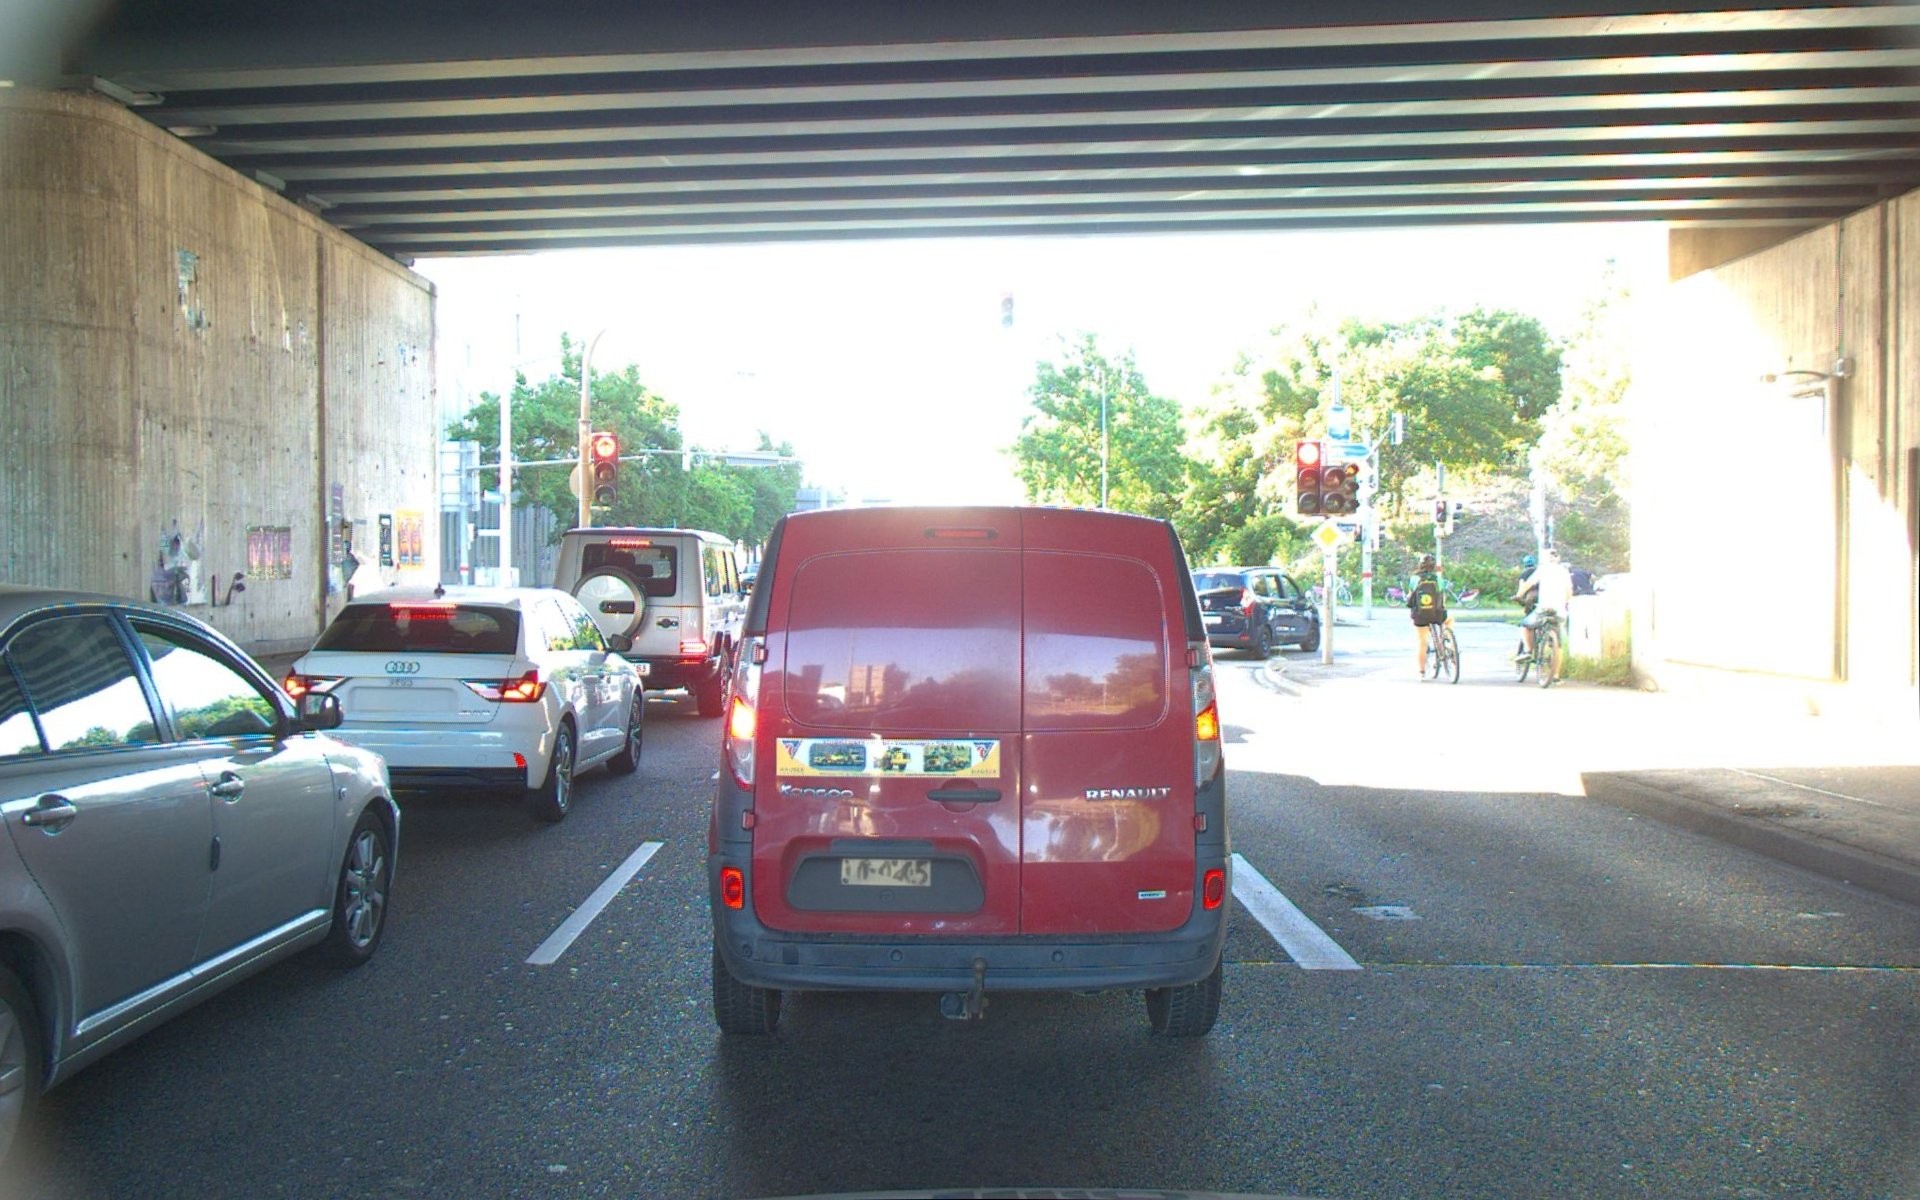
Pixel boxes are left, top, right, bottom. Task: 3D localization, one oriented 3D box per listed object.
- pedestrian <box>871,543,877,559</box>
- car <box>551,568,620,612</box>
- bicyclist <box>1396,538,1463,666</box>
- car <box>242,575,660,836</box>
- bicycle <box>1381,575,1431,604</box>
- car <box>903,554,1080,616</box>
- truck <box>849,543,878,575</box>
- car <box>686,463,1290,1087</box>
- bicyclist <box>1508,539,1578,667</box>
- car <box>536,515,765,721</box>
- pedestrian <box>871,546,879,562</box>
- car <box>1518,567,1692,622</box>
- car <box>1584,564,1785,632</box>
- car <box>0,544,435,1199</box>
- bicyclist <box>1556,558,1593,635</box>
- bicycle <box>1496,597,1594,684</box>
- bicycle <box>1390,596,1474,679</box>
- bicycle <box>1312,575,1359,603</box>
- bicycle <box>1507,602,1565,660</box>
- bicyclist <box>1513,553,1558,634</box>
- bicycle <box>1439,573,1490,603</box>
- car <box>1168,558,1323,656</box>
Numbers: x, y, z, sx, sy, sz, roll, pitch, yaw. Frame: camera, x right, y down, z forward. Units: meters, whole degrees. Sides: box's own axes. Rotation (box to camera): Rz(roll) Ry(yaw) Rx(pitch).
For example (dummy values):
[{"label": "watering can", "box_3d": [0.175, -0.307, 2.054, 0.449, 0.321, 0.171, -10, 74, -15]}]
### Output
[{"label": "pedestrian", "box_3d": [-10.845, -6.155, 208.174, 0.724, 2.049, 0.638, 1, -1, 3]}, {"label": "car", "box_3d": [-16.112, -0.442, 71.380, 1.787, 1.768, 4.630, -2, 1, 1]}, {"label": "bicyclist", "box_3d": [6.201, 0.030, 21.882, 0.580, 1.642, 0.942, 1, 0, -1]}, {"label": "car", "box_3d": [-3.253, 0.578, 11.344, 1.777, 1.463, 3.730, 1, 1, -1]}, {"label": "bicycle", "box_3d": [16.475, -0.387, 61.168, 1.707, 1.041, 0.594, 1, 0, 8]}, {"label": "car", "box_3d": [0.807, -0.374, 44.297, 4.466, 1.540, 1.823, 1, 0, -11]}, {"label": "truck", "box_3d": [-9.499, -4.038, 163.950, 2.360, 3.079, 6.657, -2, 1, 0]}, {"label": "car", "box_3d": [0.059, 0.529, 6.912, 1.768, 1.826, 3.999, 1, 0, -1]}, {"label": "bicyclist", "box_3d": [7.320, 0.037, 20.793, 0.580, 1.575, 0.769, 1, -1, -1]}, {"label": "car", "box_3d": [-3.355, 0.188, 18.793, 1.764, 2.023, 4.588, 1, 0, -1]}, {"label": "pedestrian", "box_3d": [-11.243, -6.117, 219.009, 0.921, 2.049, 0.694, 1, -1, 3]}, {"label": "car", "box_3d": [18.980, -0.156, 48.832, 4.451, 1.540, 1.829, 1, 0, 6]}, {"label": "car", "box_3d": [17.363, -0.042, 39.724, 4.104, 1.570, 1.882, 0, 0, -10]}, {"label": "car", "box_3d": [-3.008, 0.624, 4.846, 1.698, 1.506, 4.317, 0, 0, -2]}, {"label": "bicyclist", "box_3d": [12.089, -0.079, 32.560, 0.635, 1.506, 0.618, 1, 1, 17]}, {"label": "bicycle", "box_3d": [7.328, 0.488, 20.782, 0.579, 1.041, 1.750, 1, 0, -1]}, {"label": "bicycle", "box_3d": [6.210, 0.474, 21.845, 0.579, 1.041, 1.750, 1, 0, -1]}, {"label": "bicycle", "box_3d": [14.208, -0.420, 62.596, 1.707, 1.041, 0.594, 1, 0, 8]}, {"label": "bicycle", "box_3d": [10.828, 0.575, 31.157, 0.657, 1.041, 2.057, 1, 0, 9]}, {"label": "bicyclist", "box_3d": [10.832, -0.123, 31.141, 0.650, 1.500, 0.752, 1, -1, 9]}, {"label": "bicycle", "box_3d": [18.358, -0.439, 60.213, 1.707, 1.041, 0.594, 1, 0, 10]}, {"label": "car", "box_3d": [5.492, 0.123, 31.450, 1.687, 1.736, 3.974, 0, 0, 29]}]
